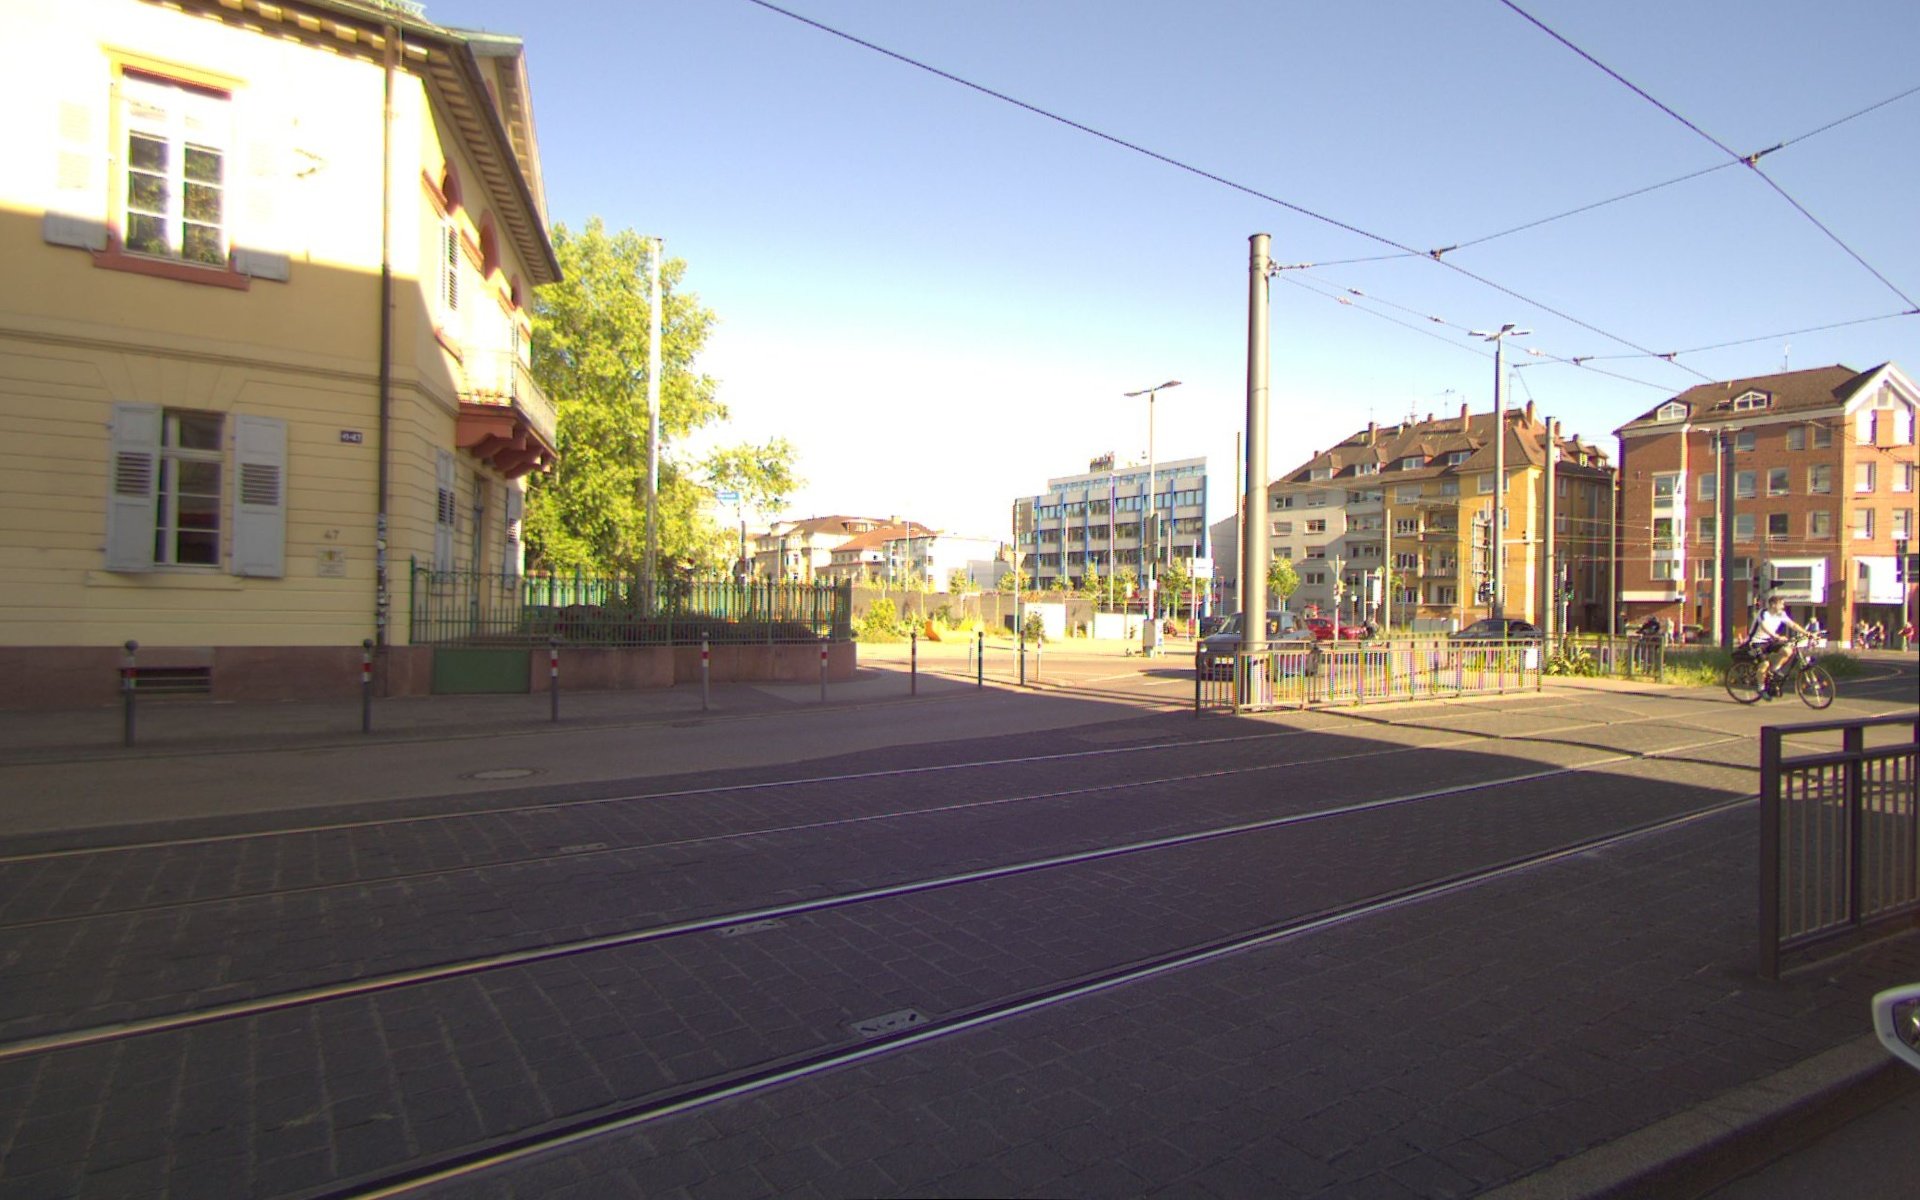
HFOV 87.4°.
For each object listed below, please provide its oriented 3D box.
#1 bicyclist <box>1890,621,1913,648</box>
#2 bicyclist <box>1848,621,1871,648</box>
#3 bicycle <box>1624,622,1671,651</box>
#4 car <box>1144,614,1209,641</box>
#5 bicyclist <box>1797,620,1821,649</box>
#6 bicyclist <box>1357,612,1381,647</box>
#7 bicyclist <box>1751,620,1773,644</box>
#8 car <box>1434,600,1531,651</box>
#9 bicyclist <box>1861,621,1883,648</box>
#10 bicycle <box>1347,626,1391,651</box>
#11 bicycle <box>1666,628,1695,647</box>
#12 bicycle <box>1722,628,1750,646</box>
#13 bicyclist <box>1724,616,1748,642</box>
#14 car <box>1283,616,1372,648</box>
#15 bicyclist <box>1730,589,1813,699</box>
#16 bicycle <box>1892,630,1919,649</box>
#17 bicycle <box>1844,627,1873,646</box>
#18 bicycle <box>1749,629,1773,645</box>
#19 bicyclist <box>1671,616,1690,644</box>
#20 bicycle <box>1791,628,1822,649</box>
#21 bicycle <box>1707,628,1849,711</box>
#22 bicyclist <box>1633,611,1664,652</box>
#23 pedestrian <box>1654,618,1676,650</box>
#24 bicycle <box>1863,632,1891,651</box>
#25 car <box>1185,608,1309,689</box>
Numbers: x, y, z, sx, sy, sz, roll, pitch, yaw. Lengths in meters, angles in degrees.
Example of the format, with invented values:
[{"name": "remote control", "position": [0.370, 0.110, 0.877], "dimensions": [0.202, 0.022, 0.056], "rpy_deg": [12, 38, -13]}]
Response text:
[{"name": "bicyclist", "position": [55.149, 2.020, 58.856], "dimensions": [0.737, 1.584, 0.781], "rpy_deg": [1, 0, -28]}, {"name": "bicyclist", "position": [53.231, 2.048, 59.440], "dimensions": [0.737, 1.584, 0.781], "rpy_deg": [1, 0, -28]}, {"name": "bicycle", "position": [26.787, 1.426, 39.127], "dimensions": [2.172, 1.108, 0.457], "rpy_deg": [2, 0, -26]}, {"name": "car", "position": [14.751, 1.864, 68.579], "dimensions": [1.895, 1.708, 3.916], "rpy_deg": [2, 0, -41]}, {"name": "bicyclist", "position": [47.361, 1.928, 56.057], "dimensions": [0.737, 1.584, 0.781], "rpy_deg": [2, 0, -28]}, {"name": "bicyclist", "position": [22.237, 1.594, 54.622], "dimensions": [0.785, 1.832, 0.892], "rpy_deg": [2, 0, -42]}, {"name": "bicyclist", "position": [50.452, 2.013, 63.222], "dimensions": [0.958, 1.490, 0.702], "rpy_deg": [1, 0, -22]}, {"name": "car", "position": [17.108, 0.839, 32.817], "dimensions": [1.693, 1.547, 4.011], "rpy_deg": [2, 0, 45]}, {"name": "bicyclist", "position": [55.258, 2.086, 60.871], "dimensions": [0.737, 1.584, 0.781], "rpy_deg": [1, 0, -28]}, {"name": "bicycle", "position": [22.245, 2.081, 54.619], "dimensions": [0.542, 1.230, 2.168], "rpy_deg": [2, 0, -41]}, {"name": "bicycle", "position": [39.766, 2.059, 55.408], "dimensions": [2.220, 0.984, 0.444], "rpy_deg": [2, 0, -31]}, {"name": "bicycle", "position": [45.624, 2.164, 59.034], "dimensions": [2.220, 0.984, 0.521], "rpy_deg": [2, 0, -31]}, {"name": "bicyclist", "position": [45.603, 1.691, 59.039], "dimensions": [0.688, 1.523, 0.894], "rpy_deg": [2, 0, -30]}, {"name": "car", "position": [21.877, 1.878, 59.906], "dimensions": [1.984, 1.723, 4.545], "rpy_deg": [2, 0, -41]}, {"name": "bicyclist", "position": [13.452, 0.721, 16.657], "dimensions": [0.747, 1.783, 0.750], "rpy_deg": [2, 0, -18]}, {"name": "bicycle", "position": [55.698, 2.315, 59.123], "dimensions": [2.197, 1.103, 0.527], "rpy_deg": [1, 0, -28]}, {"name": "bicycle", "position": [53.093, 2.131, 59.350], "dimensions": [2.255, 1.103, 0.527], "rpy_deg": [1, 0, -28]}, {"name": "bicycle", "position": [50.433, 2.333, 63.212], "dimensions": [1.669, 0.994, 0.403], "rpy_deg": [2, 0, -22]}, {"name": "bicyclist", "position": [39.724, 1.640, 55.375], "dimensions": [0.688, 1.523, 0.630], "rpy_deg": [2, 0, -30]}, {"name": "bicycle", "position": [47.178, 2.159, 55.955], "dimensions": [2.197, 1.103, 0.535], "rpy_deg": [2, 0, -28]}, {"name": "bicycle", "position": [13.465, 1.107, 16.601], "dimensions": [0.478, 1.238, 1.848], "rpy_deg": [2, 0, -17]}, {"name": "bicyclist", "position": [26.857, 1.226, 39.179], "dimensions": [0.581, 1.547, 0.783], "rpy_deg": [2, 0, -26]}, {"name": "pedestrian", "position": [42.308, 2.036, 60.301], "dimensions": [0.737, 1.845, 0.781], "rpy_deg": [2, 0, -28]}, {"name": "bicycle", "position": [55.697, 2.511, 61.031], "dimensions": [2.255, 1.103, 0.527], "rpy_deg": [2, 0, -28]}, {"name": "car", "position": [6.331, 0.994, 21.885], "dimensions": [1.616, 1.546, 3.857], "rpy_deg": [2, 0, 31]}]
